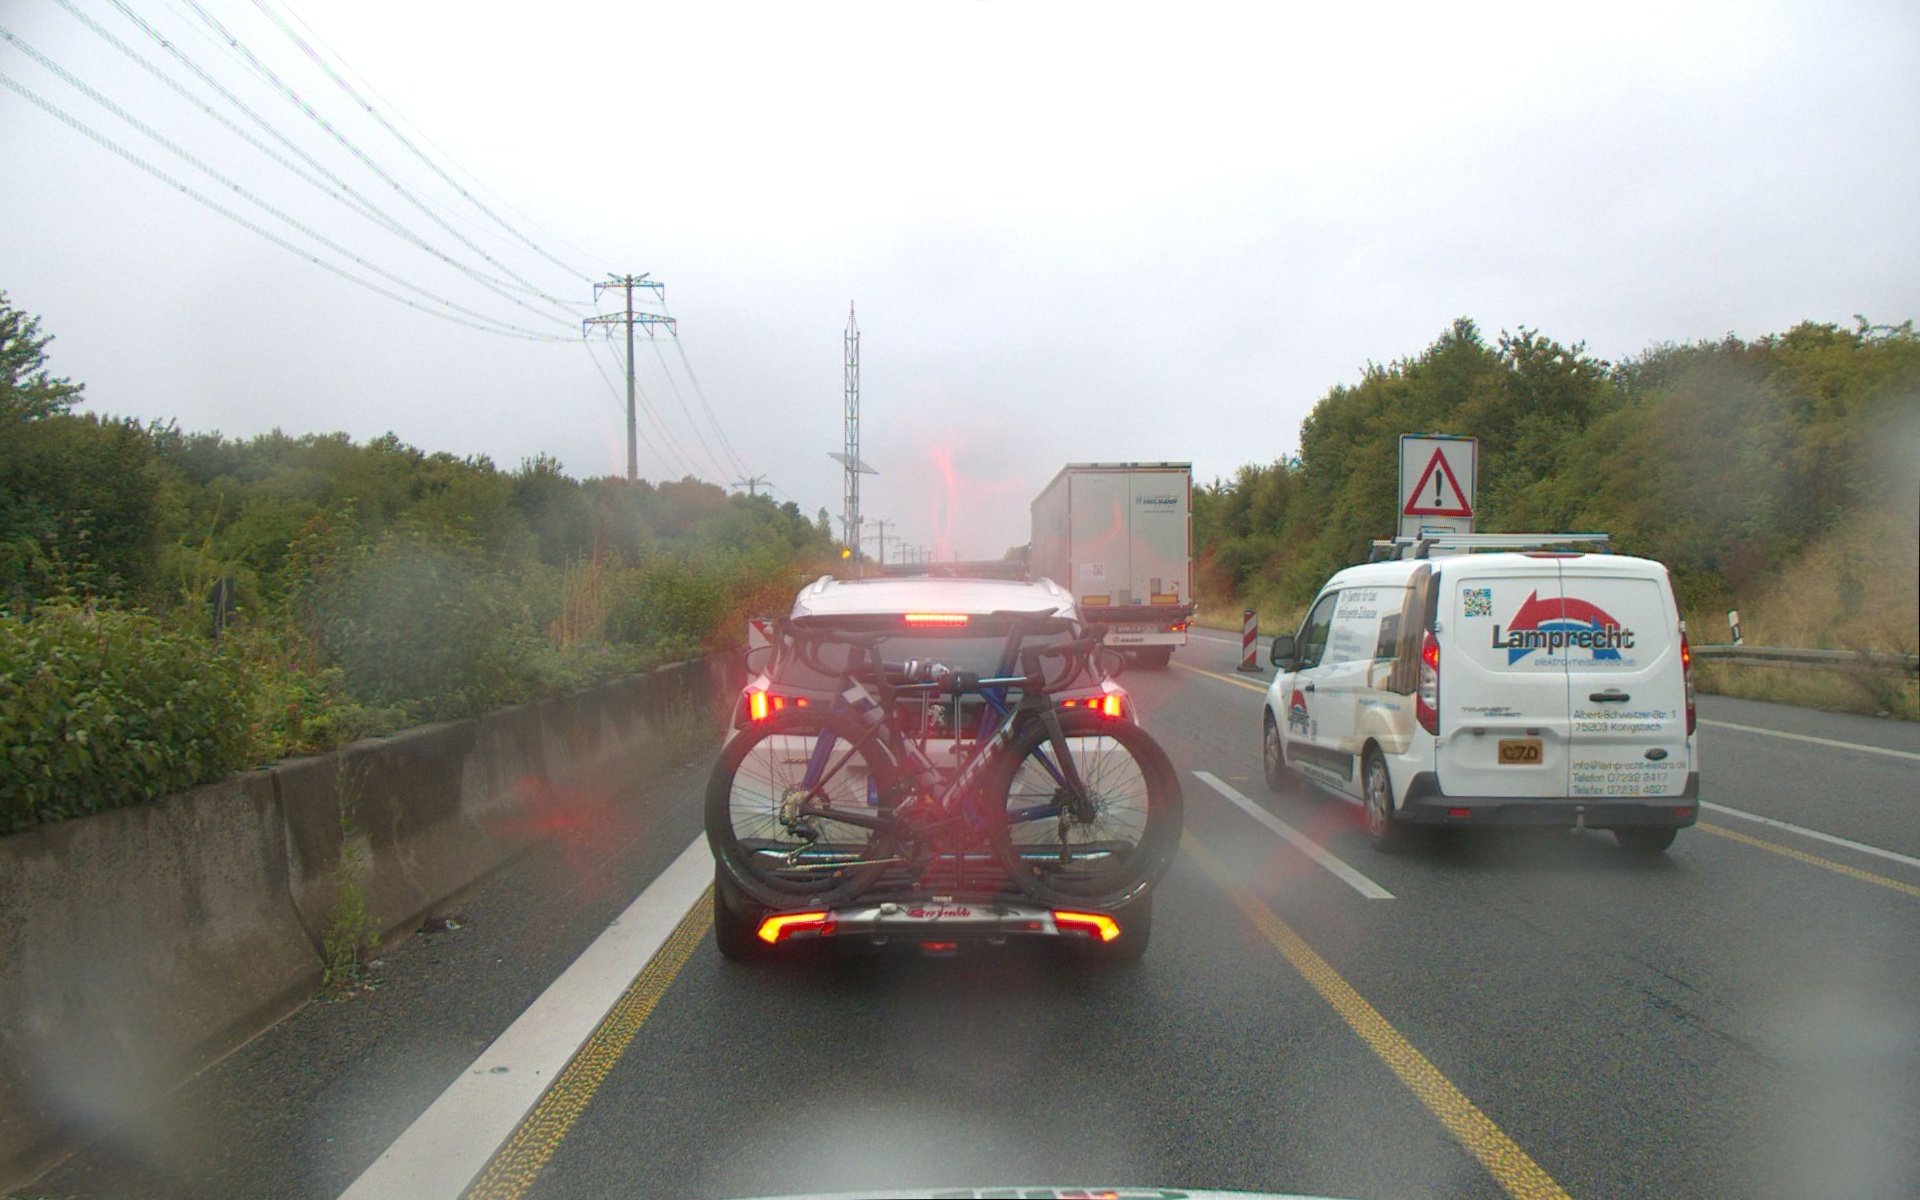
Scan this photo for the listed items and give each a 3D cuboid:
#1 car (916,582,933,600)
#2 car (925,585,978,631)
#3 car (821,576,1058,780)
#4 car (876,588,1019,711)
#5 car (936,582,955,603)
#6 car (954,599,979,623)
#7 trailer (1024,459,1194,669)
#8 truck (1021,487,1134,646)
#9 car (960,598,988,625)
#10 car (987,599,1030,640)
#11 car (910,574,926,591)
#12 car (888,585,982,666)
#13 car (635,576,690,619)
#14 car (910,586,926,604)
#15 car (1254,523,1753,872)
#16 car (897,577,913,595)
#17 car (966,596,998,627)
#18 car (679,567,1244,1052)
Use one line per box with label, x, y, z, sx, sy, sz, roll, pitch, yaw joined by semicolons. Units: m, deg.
car;-3.968;-1.033;187.095;1.892;1.944;4.000;0;1;-1
car;-0.311;0.271;58.361;1.812;1.557;3.999;0;0;-1
car;-0.182;0.592;14.706;1.812;1.557;3.999;0;0;-1
car;-0.181;0.622;23.037;1.812;1.557;3.999;0;0;-1
car;-1.455;-0.741;166.994;1.892;2.008;4.000;0;1;-1
car;0.595;0.945;145.037;2.104;2.008;4.000;0;1;-1
trailer;3.226;-0.743;39.610;2.638;4.148;13.631;0;0;-1
truck;3.178;-0.887;46.346;2.606;4.148;6.538;0;0;-1
car;1.123;0.897;131.202;2.104;2.008;4.000;0;1;-1
car;2.525;1.028;87.402;2.067;2.008;4.000;0;1;-1
car;-5.086;-2.136;199.805;1.892;2.008;4.000;0;1;-1
car;-0.515;0.490;33.916;1.812;1.557;3.999;0;0;-1
car;-16.249;-0.158;90.718;2.136;2.304;5.203;0;0;-1
car;-4.911;-0.595;194.010;1.892;2.008;4.000;0;1;-1
car;3.334;0.514;11.209;1.792;1.871;4.654;0;0;-1
car;-7.767;-1.940;233.682;2.212;2.467;4.000;0;1;-1
car;1.546;0.798;116.488;2.104;2.008;4.000;0;1;-1
car;-0.025;0.664;7.708;1.812;1.557;4.768;0;0;-1
